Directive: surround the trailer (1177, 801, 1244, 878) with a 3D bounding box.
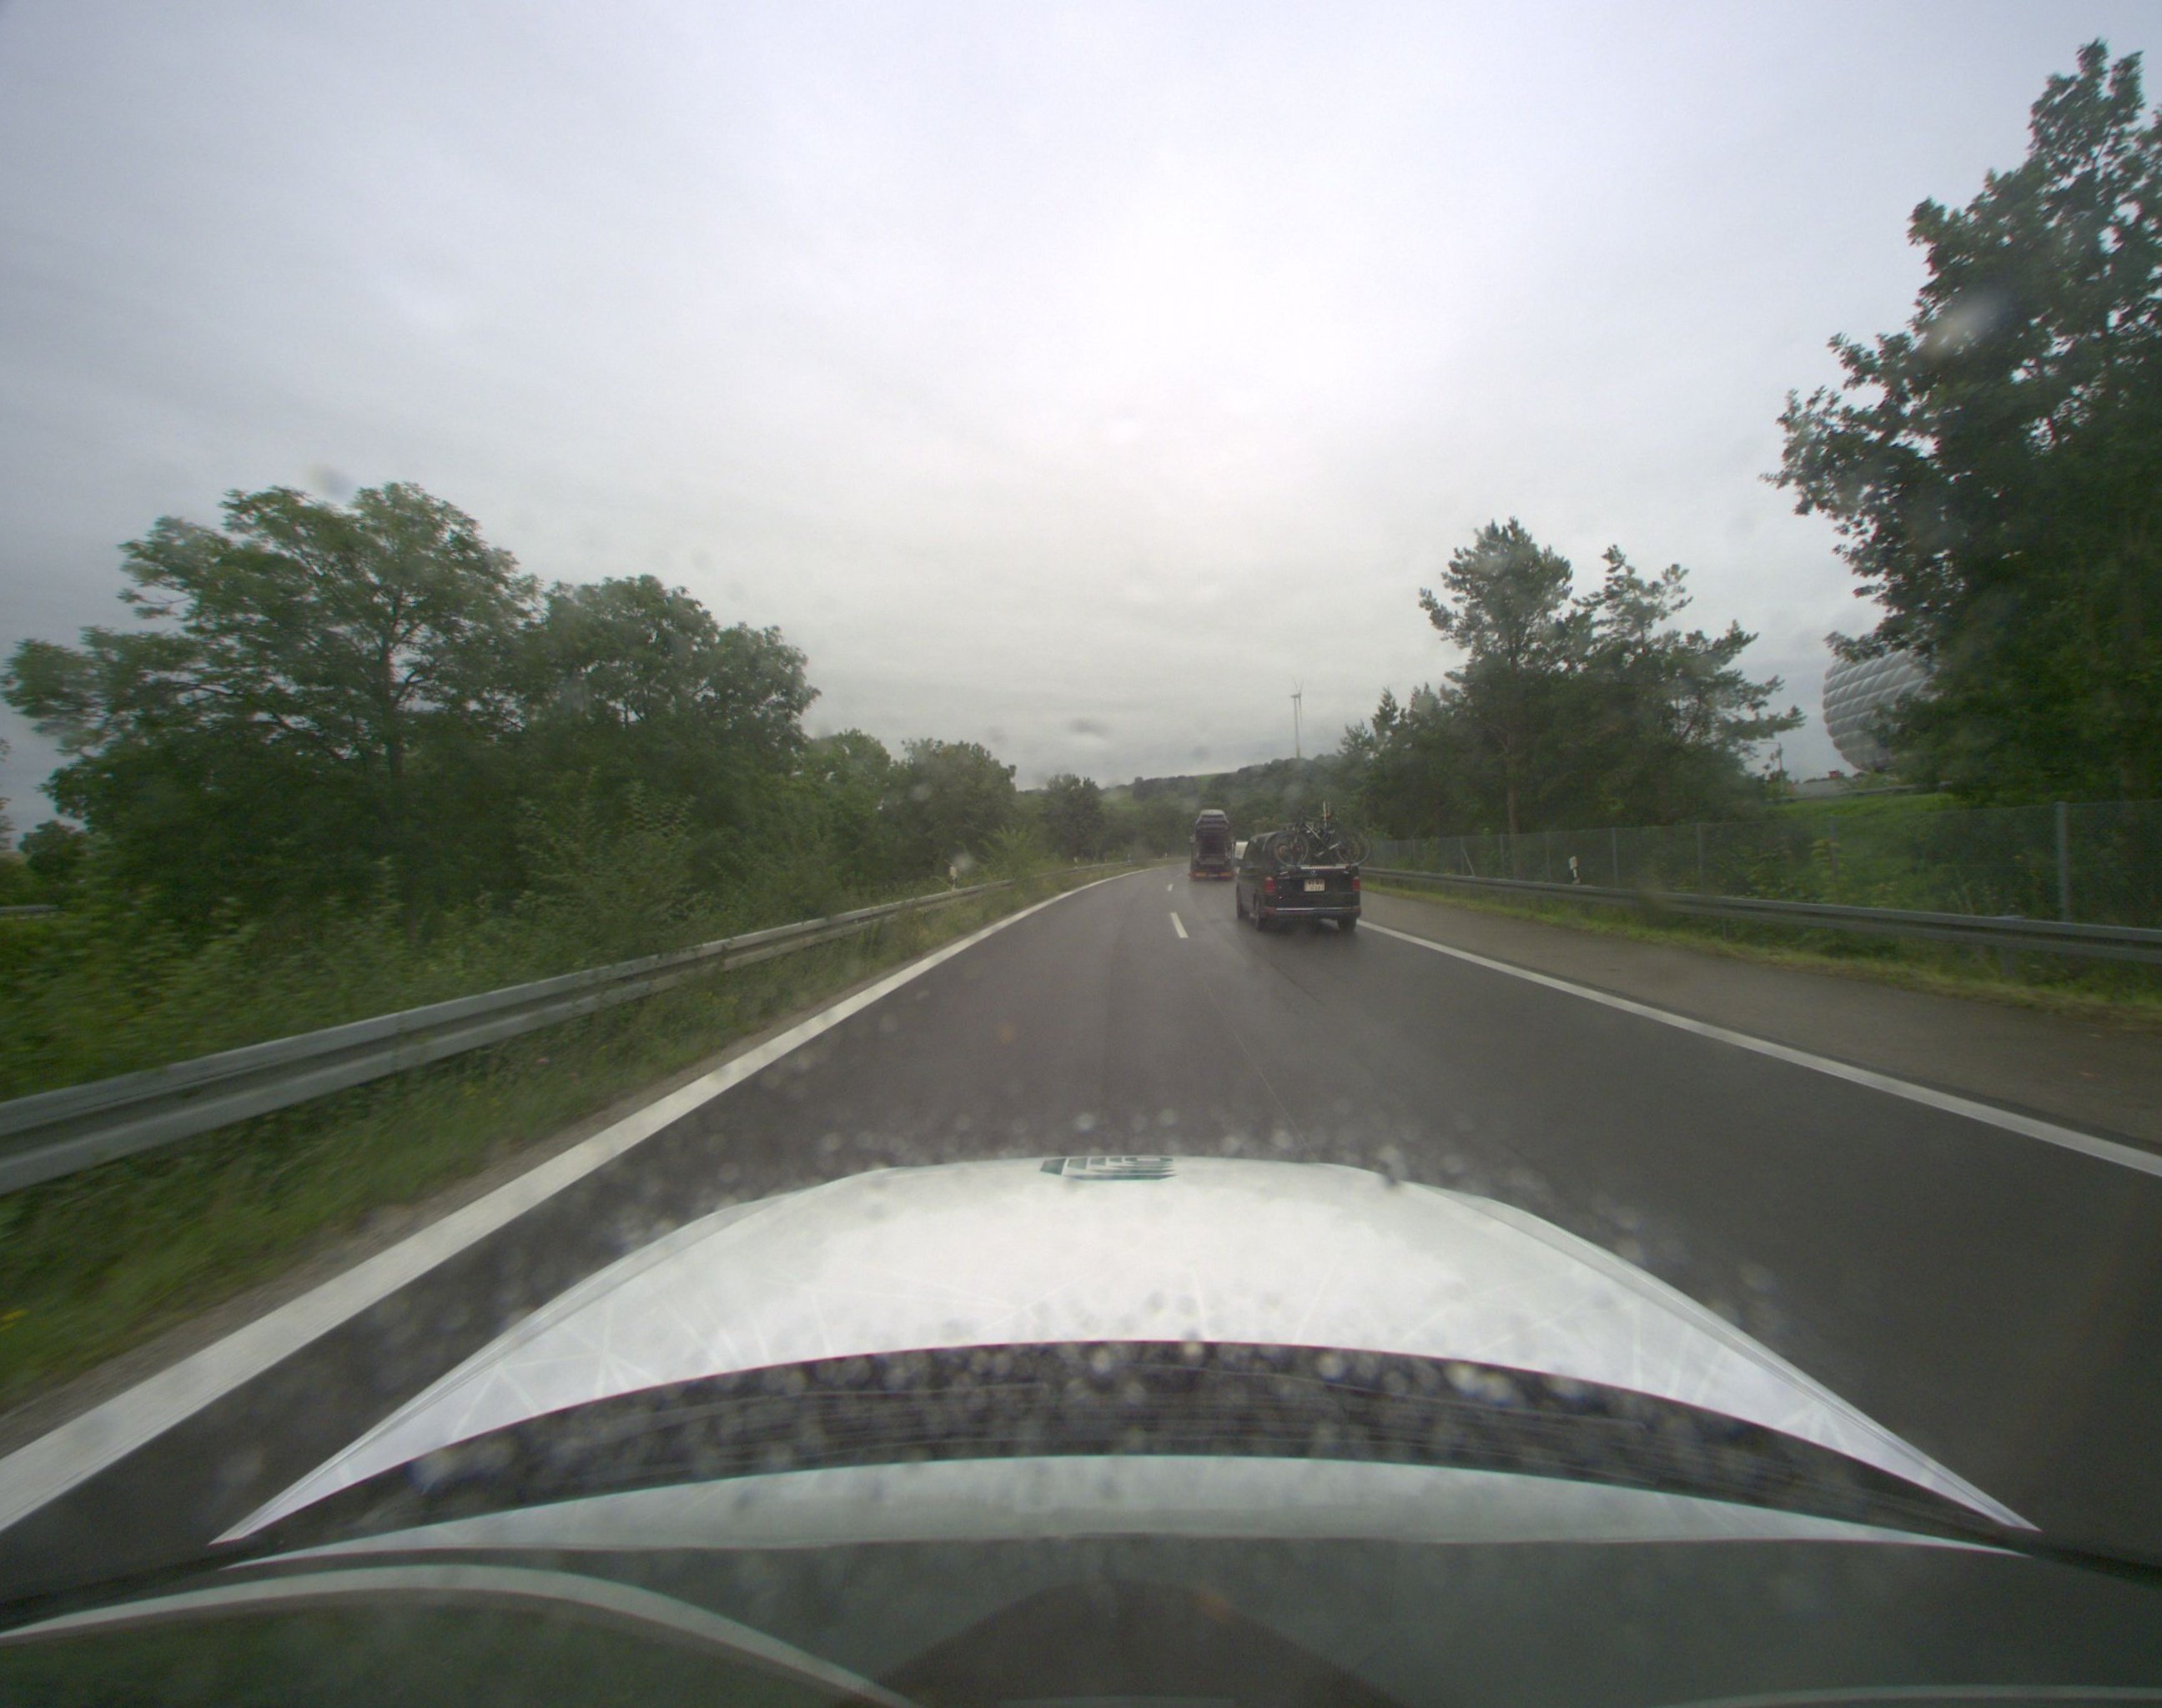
[{"bbox_3d":[7.437,-0.788,48.112,3.431,3.999,12.050,0,0,7],"label":"trailer"}]

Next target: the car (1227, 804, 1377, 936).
[{"bbox_3d":[4.354,0.244,17.074,2.099,2.264,5.906,0,1,6],"label":"car"}]

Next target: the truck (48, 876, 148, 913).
[{"bbox_3d":[-100.397,4.028,83.379,2.870,3.364,8.562,-3,0,-24],"label":"truck"}]

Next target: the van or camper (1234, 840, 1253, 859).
[{"bbox_3d":[19.268,-0.540,96.564,2.079,2.231,4.445,-1,0,11],"label":"van or camper"}]

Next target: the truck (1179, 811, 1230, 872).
[{"bbox_3d":[8.850,-0.863,59.483,3.376,3.999,10.868,0,0,7],"label":"truck"}]
